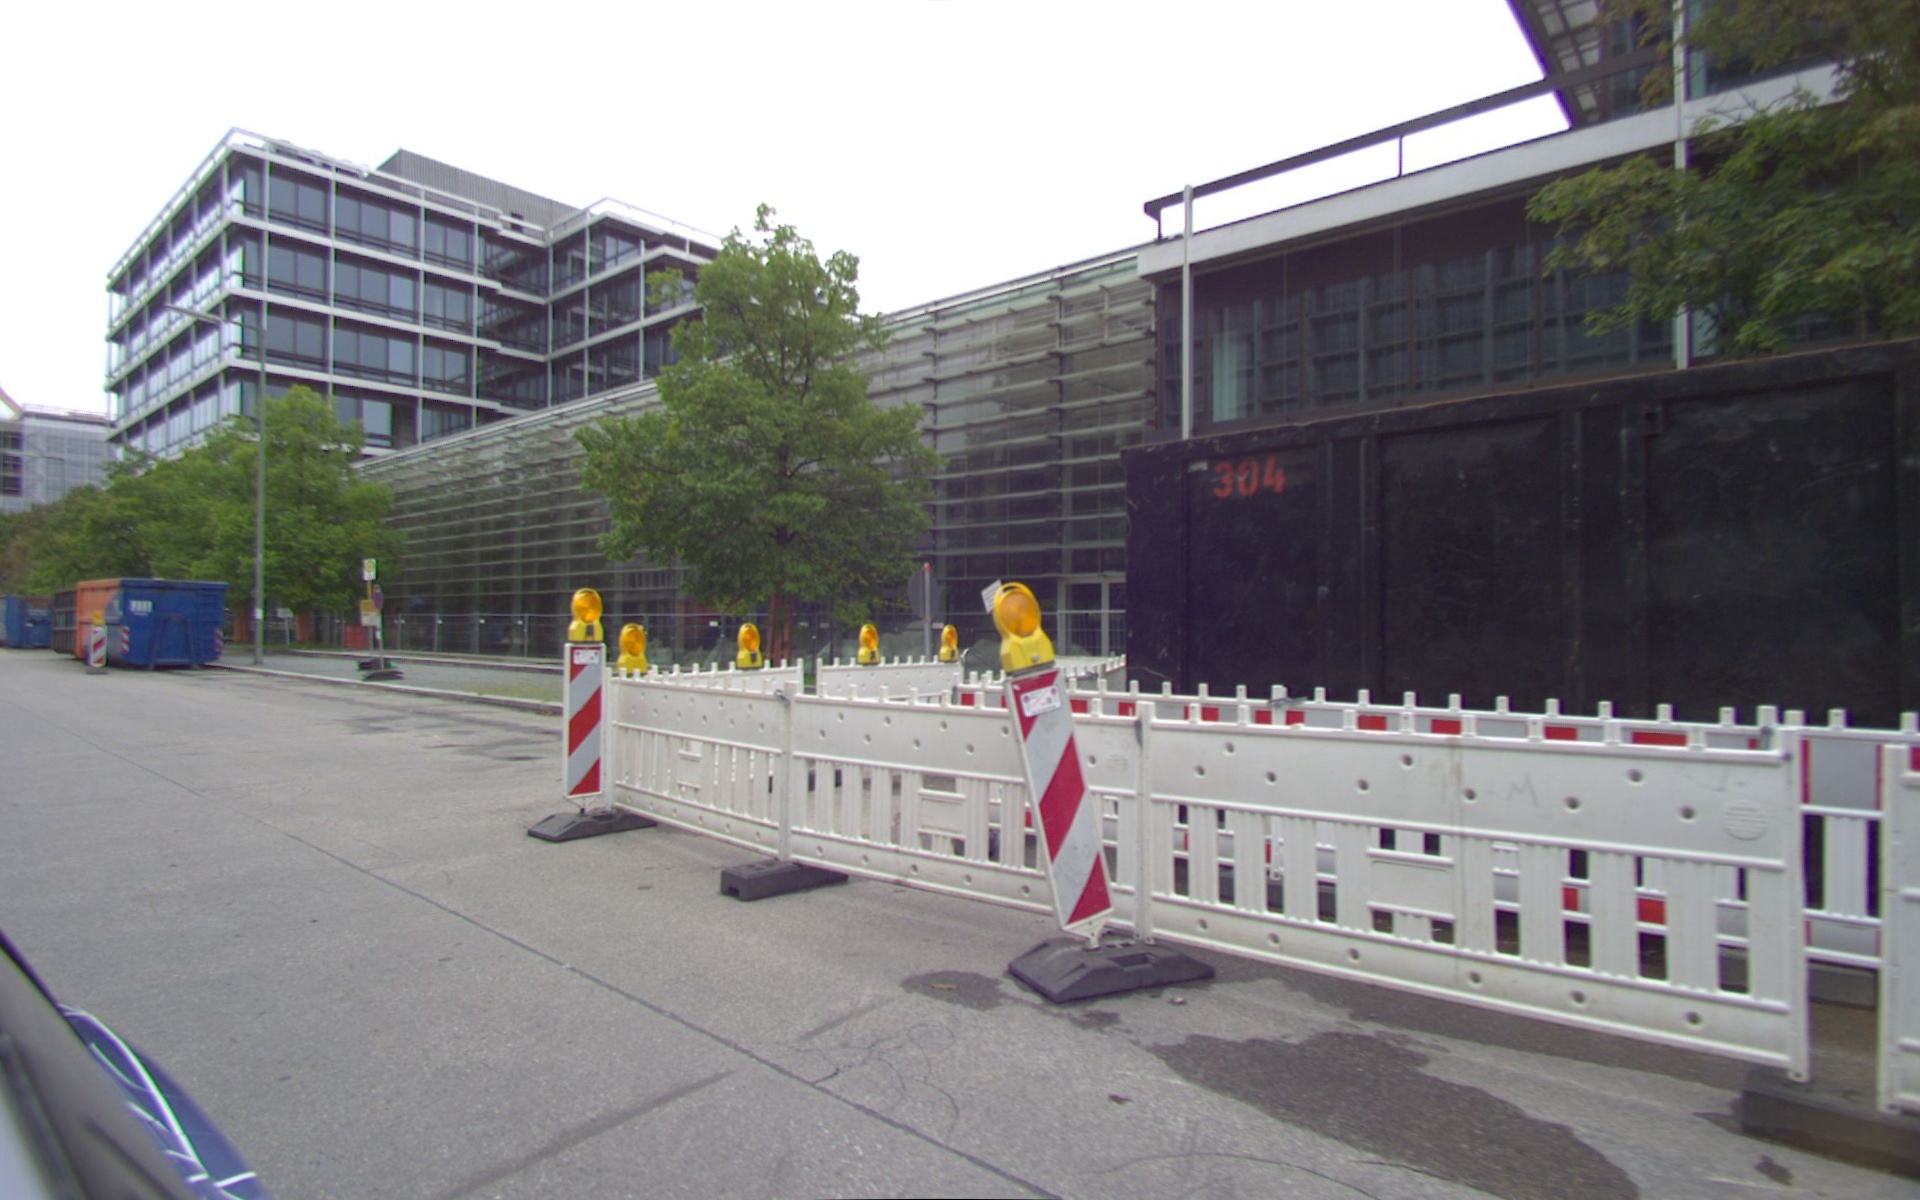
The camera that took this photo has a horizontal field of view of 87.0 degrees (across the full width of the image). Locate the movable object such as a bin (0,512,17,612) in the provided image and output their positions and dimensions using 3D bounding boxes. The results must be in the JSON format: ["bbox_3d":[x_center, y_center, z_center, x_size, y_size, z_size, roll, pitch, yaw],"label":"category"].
[{"bbox_3d":[-68.688,-2.498,70.590,11.778,6.614,2.874,-1,-2,41],"label":"movable object such as a bin"}]
